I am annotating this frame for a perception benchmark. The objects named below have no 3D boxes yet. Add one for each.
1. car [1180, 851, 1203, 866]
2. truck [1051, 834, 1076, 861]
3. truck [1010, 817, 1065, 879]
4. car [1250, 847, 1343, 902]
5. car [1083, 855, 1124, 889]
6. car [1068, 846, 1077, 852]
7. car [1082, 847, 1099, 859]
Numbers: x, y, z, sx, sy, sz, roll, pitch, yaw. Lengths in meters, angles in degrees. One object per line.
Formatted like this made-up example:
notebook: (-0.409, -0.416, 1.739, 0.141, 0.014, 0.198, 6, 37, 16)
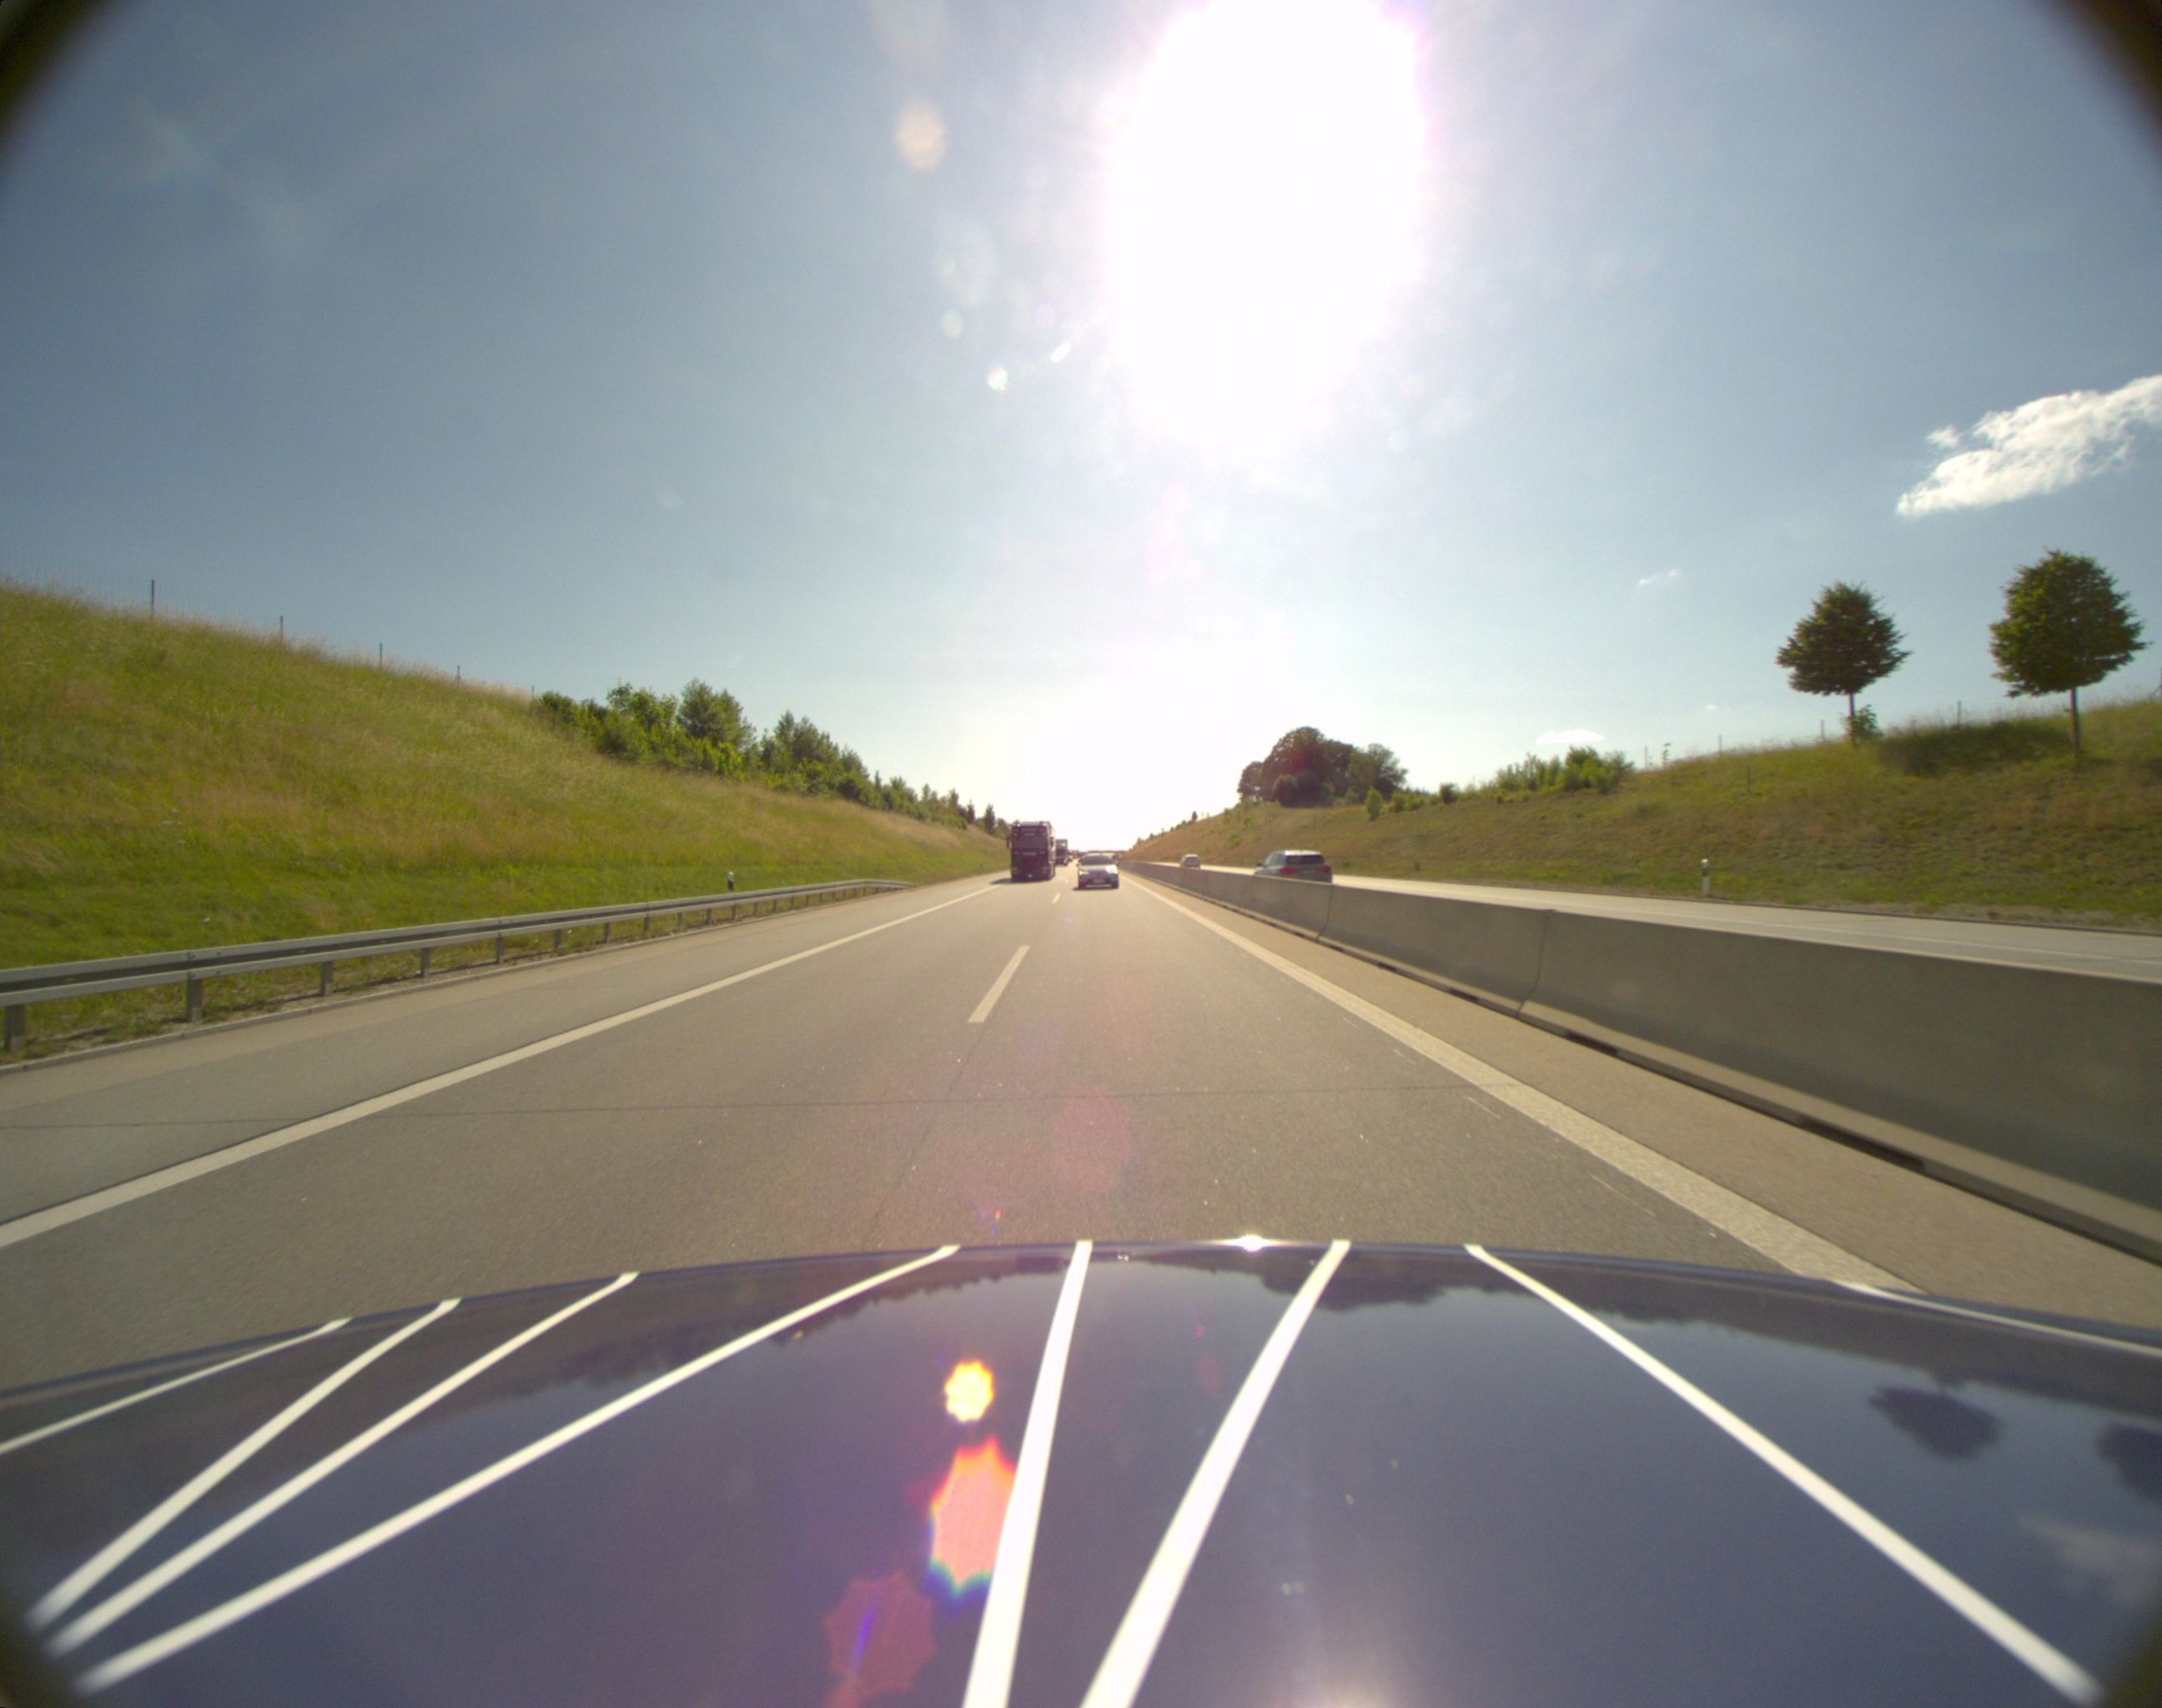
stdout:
car: (11.731, 0.434, 80.881, 1.808, 1.462, 4.527, -1, 0, 1)
truck: (-2.507, -0.945, 114.723, 3.024, 3.795, 13.404, 1, 0, 2)
truck: (-2.844, -0.404, 53.710, 2.623, 3.795, 13.404, -1, 0, 2)
car: (7.545, 0.666, 27.126, 1.936, 1.722, 4.886, -2, 0, 1)
car: (1.076, 0.819, 36.066, 1.795, 1.501, 3.635, -1, 0, 2)
car: (-1.836, -1.090, 169.192, 1.708, 1.433, 3.633, 1, 0, -4)
car: (1.705, -0.185, 133.514, 2.816, 2.143, 5.946, 1, 0, 0)
